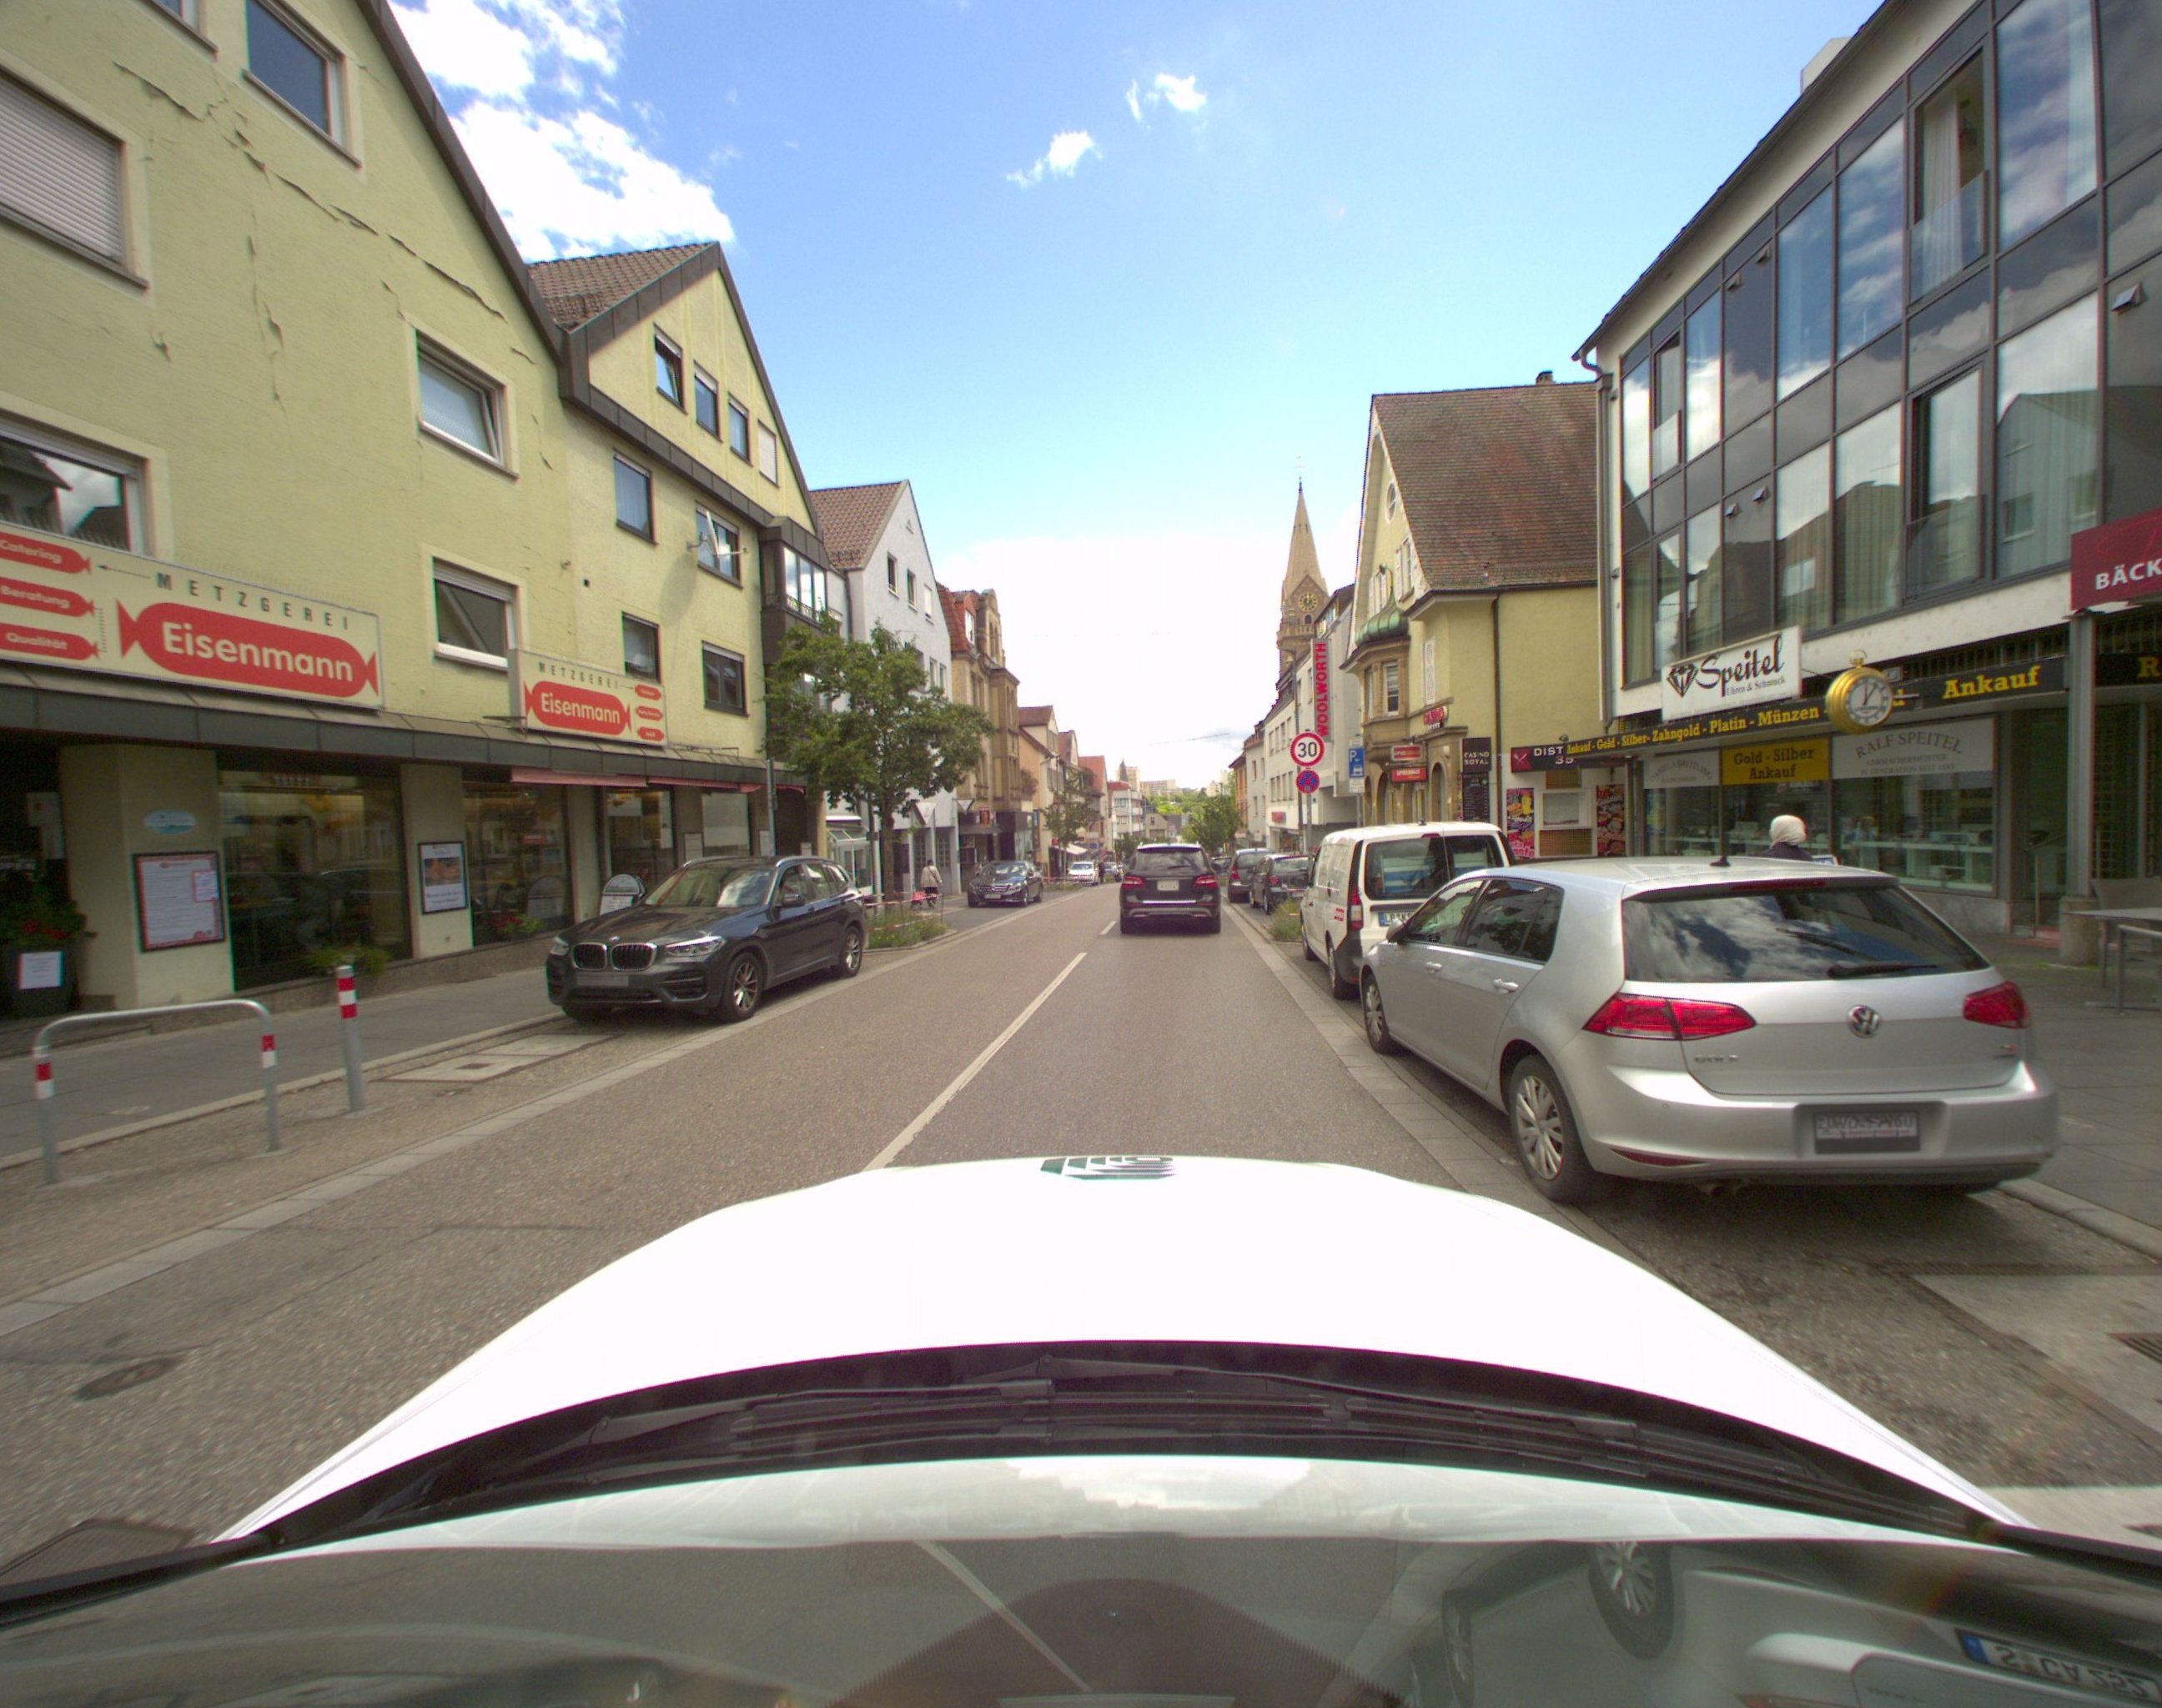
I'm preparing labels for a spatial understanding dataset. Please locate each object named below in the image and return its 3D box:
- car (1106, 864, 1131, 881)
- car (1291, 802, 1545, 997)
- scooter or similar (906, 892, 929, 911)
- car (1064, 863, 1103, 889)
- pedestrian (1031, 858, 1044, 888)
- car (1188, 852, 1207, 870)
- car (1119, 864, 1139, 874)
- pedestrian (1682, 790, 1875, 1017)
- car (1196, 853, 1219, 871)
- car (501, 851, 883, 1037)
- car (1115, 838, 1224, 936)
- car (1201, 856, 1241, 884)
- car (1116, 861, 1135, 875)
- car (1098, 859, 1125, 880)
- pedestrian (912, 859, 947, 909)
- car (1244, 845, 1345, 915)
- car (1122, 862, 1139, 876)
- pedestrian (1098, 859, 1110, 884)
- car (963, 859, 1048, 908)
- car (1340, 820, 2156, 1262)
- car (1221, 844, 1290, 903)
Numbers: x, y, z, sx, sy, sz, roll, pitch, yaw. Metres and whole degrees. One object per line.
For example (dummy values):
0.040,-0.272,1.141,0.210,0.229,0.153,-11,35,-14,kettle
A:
3.466,1.664,74.585,1.916,1.430,4.271,-1,-1,8,car
3.758,0.454,10.020,1.865,1.799,4.745,-2,-1,10,car
-4.787,1.384,23.878,0.522,0.519,0.574,0,-1,6,scooter or similar
0.198,1.331,49.711,1.917,1.511,4.269,0,0,6,car
-2.194,0.960,41.141,0.487,1.463,0.561,0,-1,16,pedestrian
13.347,0.780,93.351,1.928,1.891,4.715,-4,-1,6,car
9.585,2.966,163.271,3.971,1.750,2.001,-4,-2,2,car
5.460,0.379,6.446,0.818,1.666,0.804,-2,-1,13,pedestrian
11.758,0.726,75.979,1.739,1.465,4.081,-5,-1,6,car
-4.195,0.830,9.854,1.996,1.693,4.615,-1,0,6,car
1.856,0.601,16.830,1.933,1.740,4.187,-1,0,7,car
8.368,1.009,48.916,1.742,1.498,3.801,-5,-2,2,car
4.835,1.529,88.080,1.918,1.497,4.266,0,0,4,car
2.524,1.274,66.850,1.917,1.621,4.646,-1,-1,6,car
-4.566,0.894,24.584,0.821,1.463,0.811,0,-1,6,pedestrian
5.300,0.614,20.722,1.740,1.509,3.879,-4,-1,4,car
5.852,1.746,95.414,1.918,1.595,4.462,0,0,4,car
1.570,1.191,56.432,0.734,1.672,0.864,-2,-1,4,pedestrian
-2.384,0.914,27.106,1.917,1.492,4.850,0,0,6,car
2.912,0.673,4.813,1.695,1.467,4.005,-3,-1,4,car
5.398,0.581,25.546,1.739,1.608,3.808,-4,-1,7,car
